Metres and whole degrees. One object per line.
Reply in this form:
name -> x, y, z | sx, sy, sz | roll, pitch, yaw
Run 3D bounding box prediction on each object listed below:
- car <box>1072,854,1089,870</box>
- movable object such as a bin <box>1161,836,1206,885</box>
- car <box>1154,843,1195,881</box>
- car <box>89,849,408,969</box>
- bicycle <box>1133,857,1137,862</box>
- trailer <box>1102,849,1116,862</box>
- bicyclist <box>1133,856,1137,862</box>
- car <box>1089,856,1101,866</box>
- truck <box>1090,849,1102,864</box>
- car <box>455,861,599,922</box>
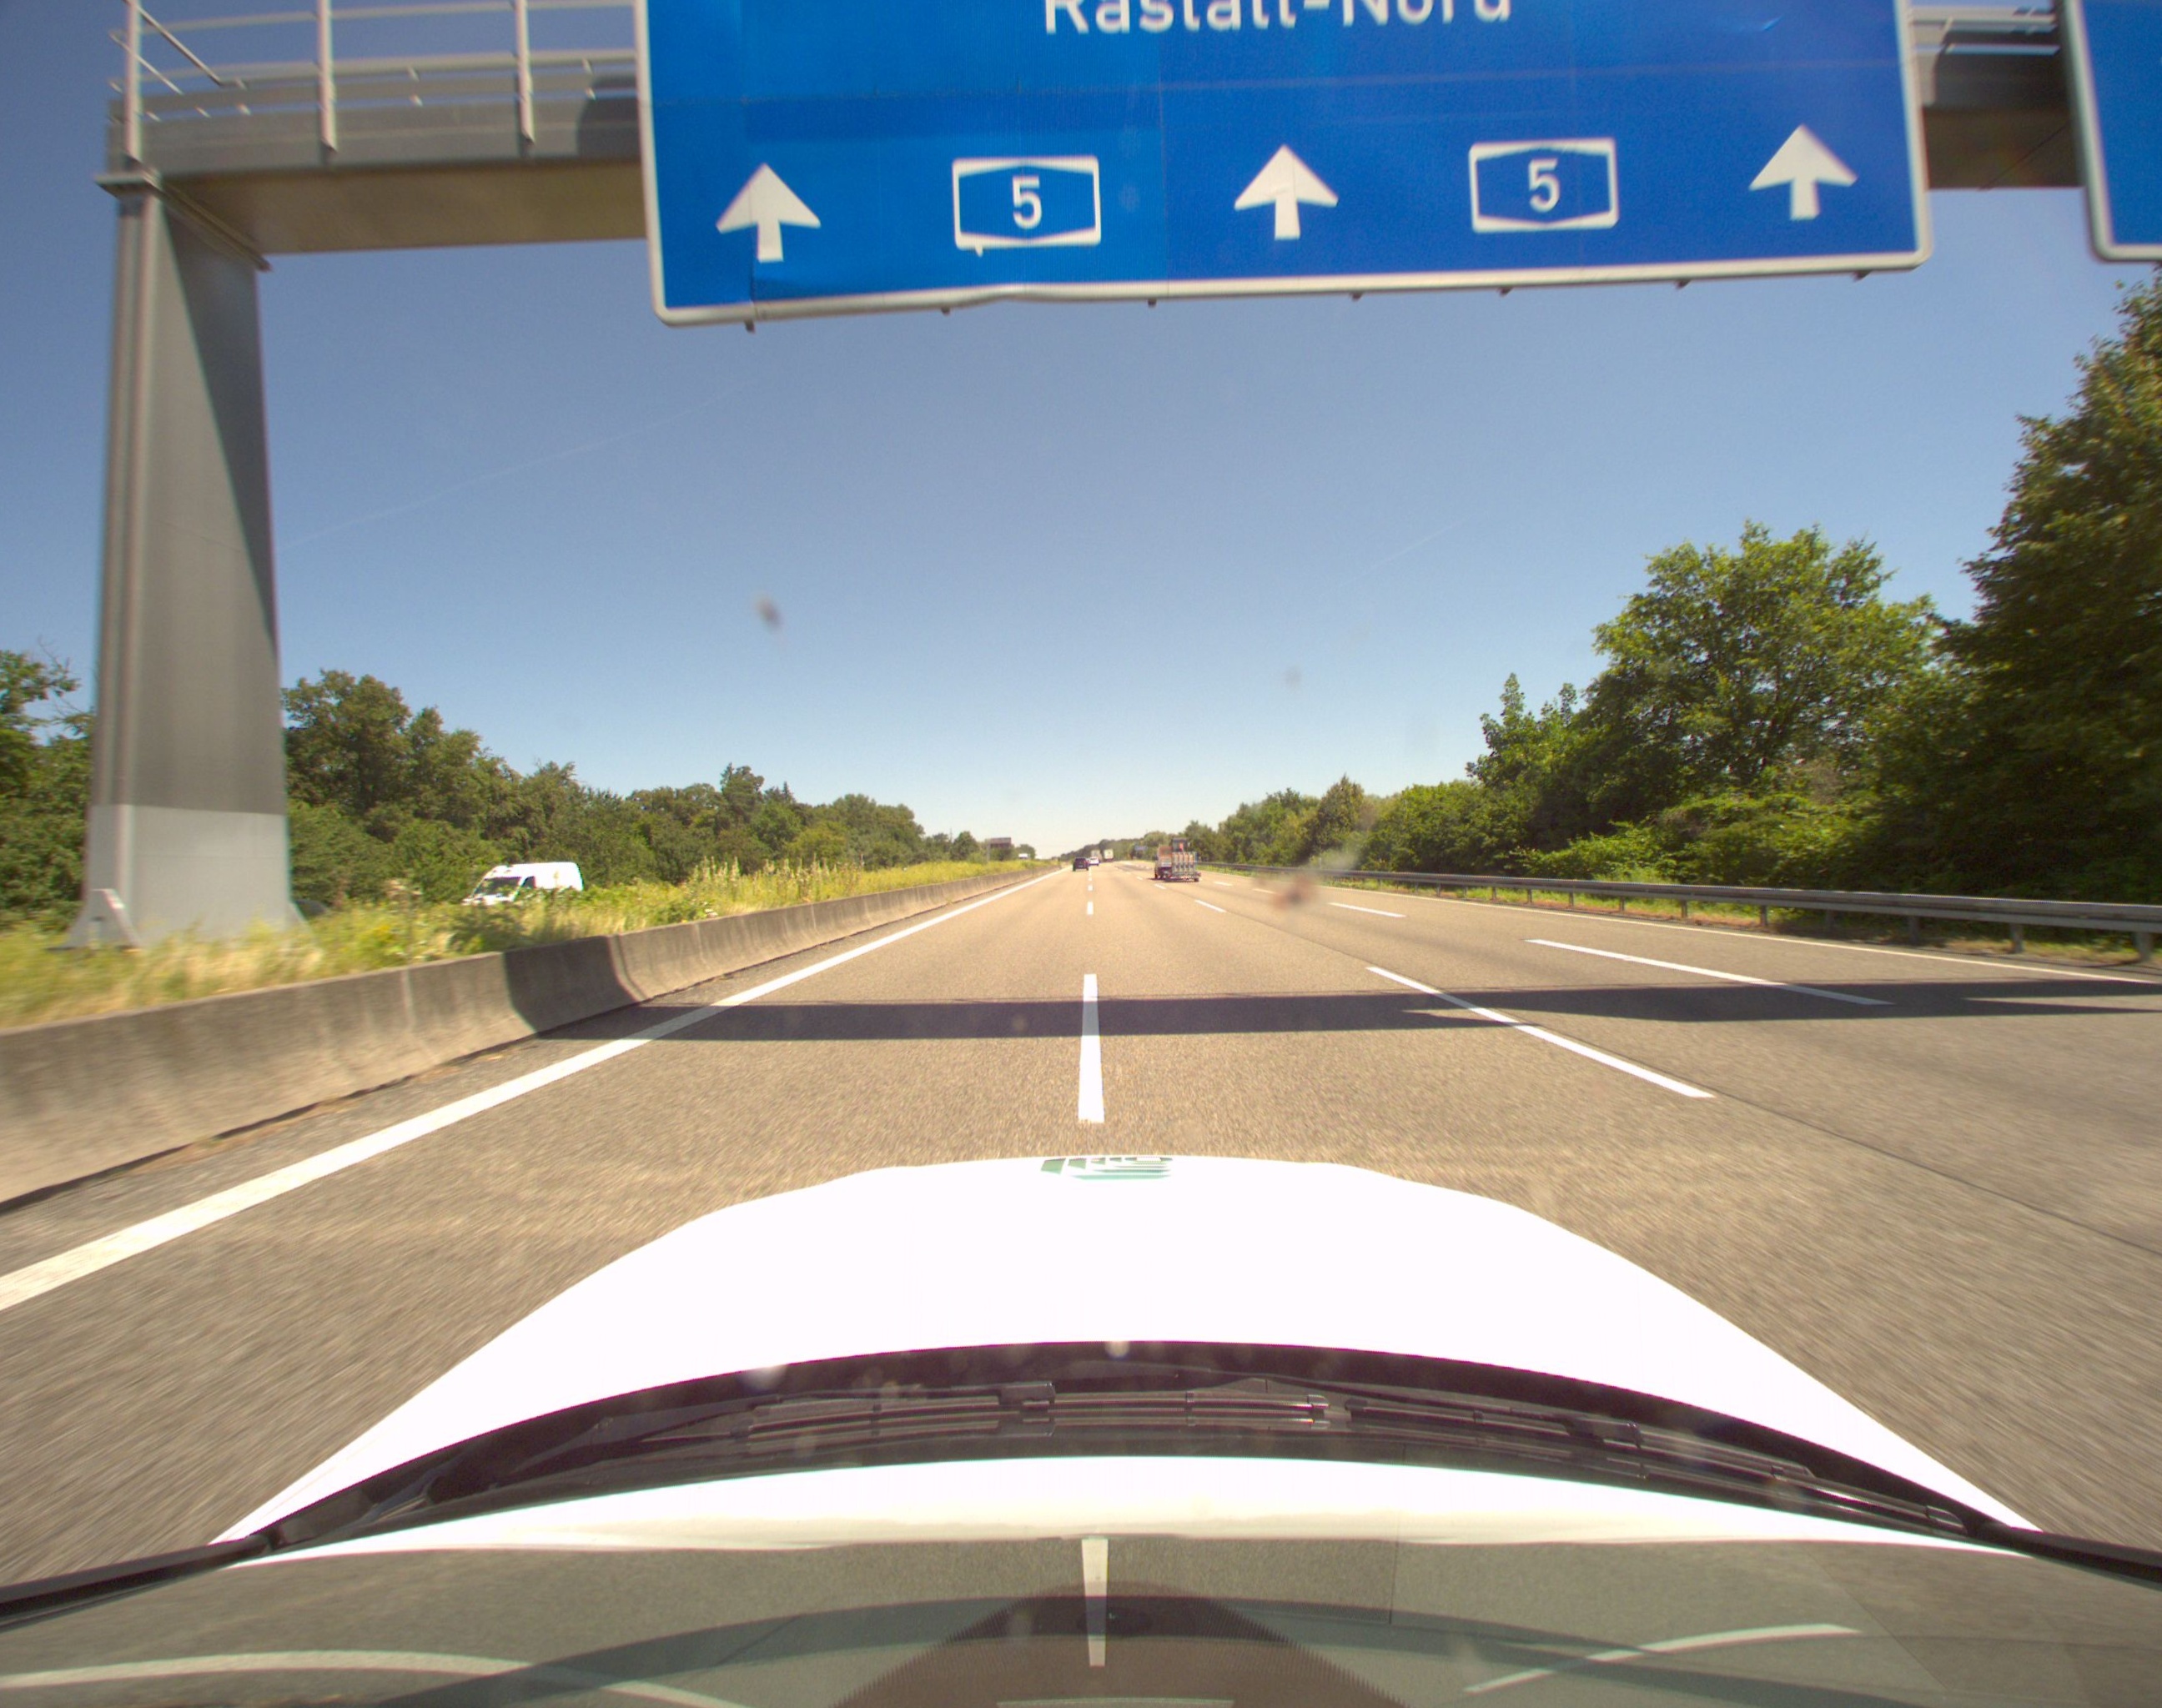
car -> -0.004, 1.053, 103.787 | 1.987, 1.874, 4.000 | -3, -1, 1
movable object such as a bin -> 6.444, 0.407, 51.731 | 2.167, 2.815, 4.761 | -3, -1, 1
car -> 6.541, 0.535, 57.765 | 1.987, 2.405, 7.226 | -3, -1, 1
car -> -15.928, 0.947, 15.952 | 1.985, 2.014, 4.003 | -1, 0, 3
bicycle -> 14.053, 1.423, 211.897 | 0.954, 1.157, 2.613 | -1, -1, 9
trailer -> 8.644, 0.491, 252.960 | 3.362, 4.143, 9.075 | 0, -1, -5
bicyclist -> 14.052, 1.214, 211.999 | 0.954, 1.595, 0.809 | -1, -1, 8
car -> 2.579, 1.274, 150.734 | 1.987, 1.874, 4.000 | -3, -1, 1
truck -> 4.303, 0.631, 236.822 | 3.219, 4.202, 8.463 | -1, 0, 0
car -> -23.264, 1.498, 34.526 | 1.985, 2.316, 5.549 | -1, 0, 4
